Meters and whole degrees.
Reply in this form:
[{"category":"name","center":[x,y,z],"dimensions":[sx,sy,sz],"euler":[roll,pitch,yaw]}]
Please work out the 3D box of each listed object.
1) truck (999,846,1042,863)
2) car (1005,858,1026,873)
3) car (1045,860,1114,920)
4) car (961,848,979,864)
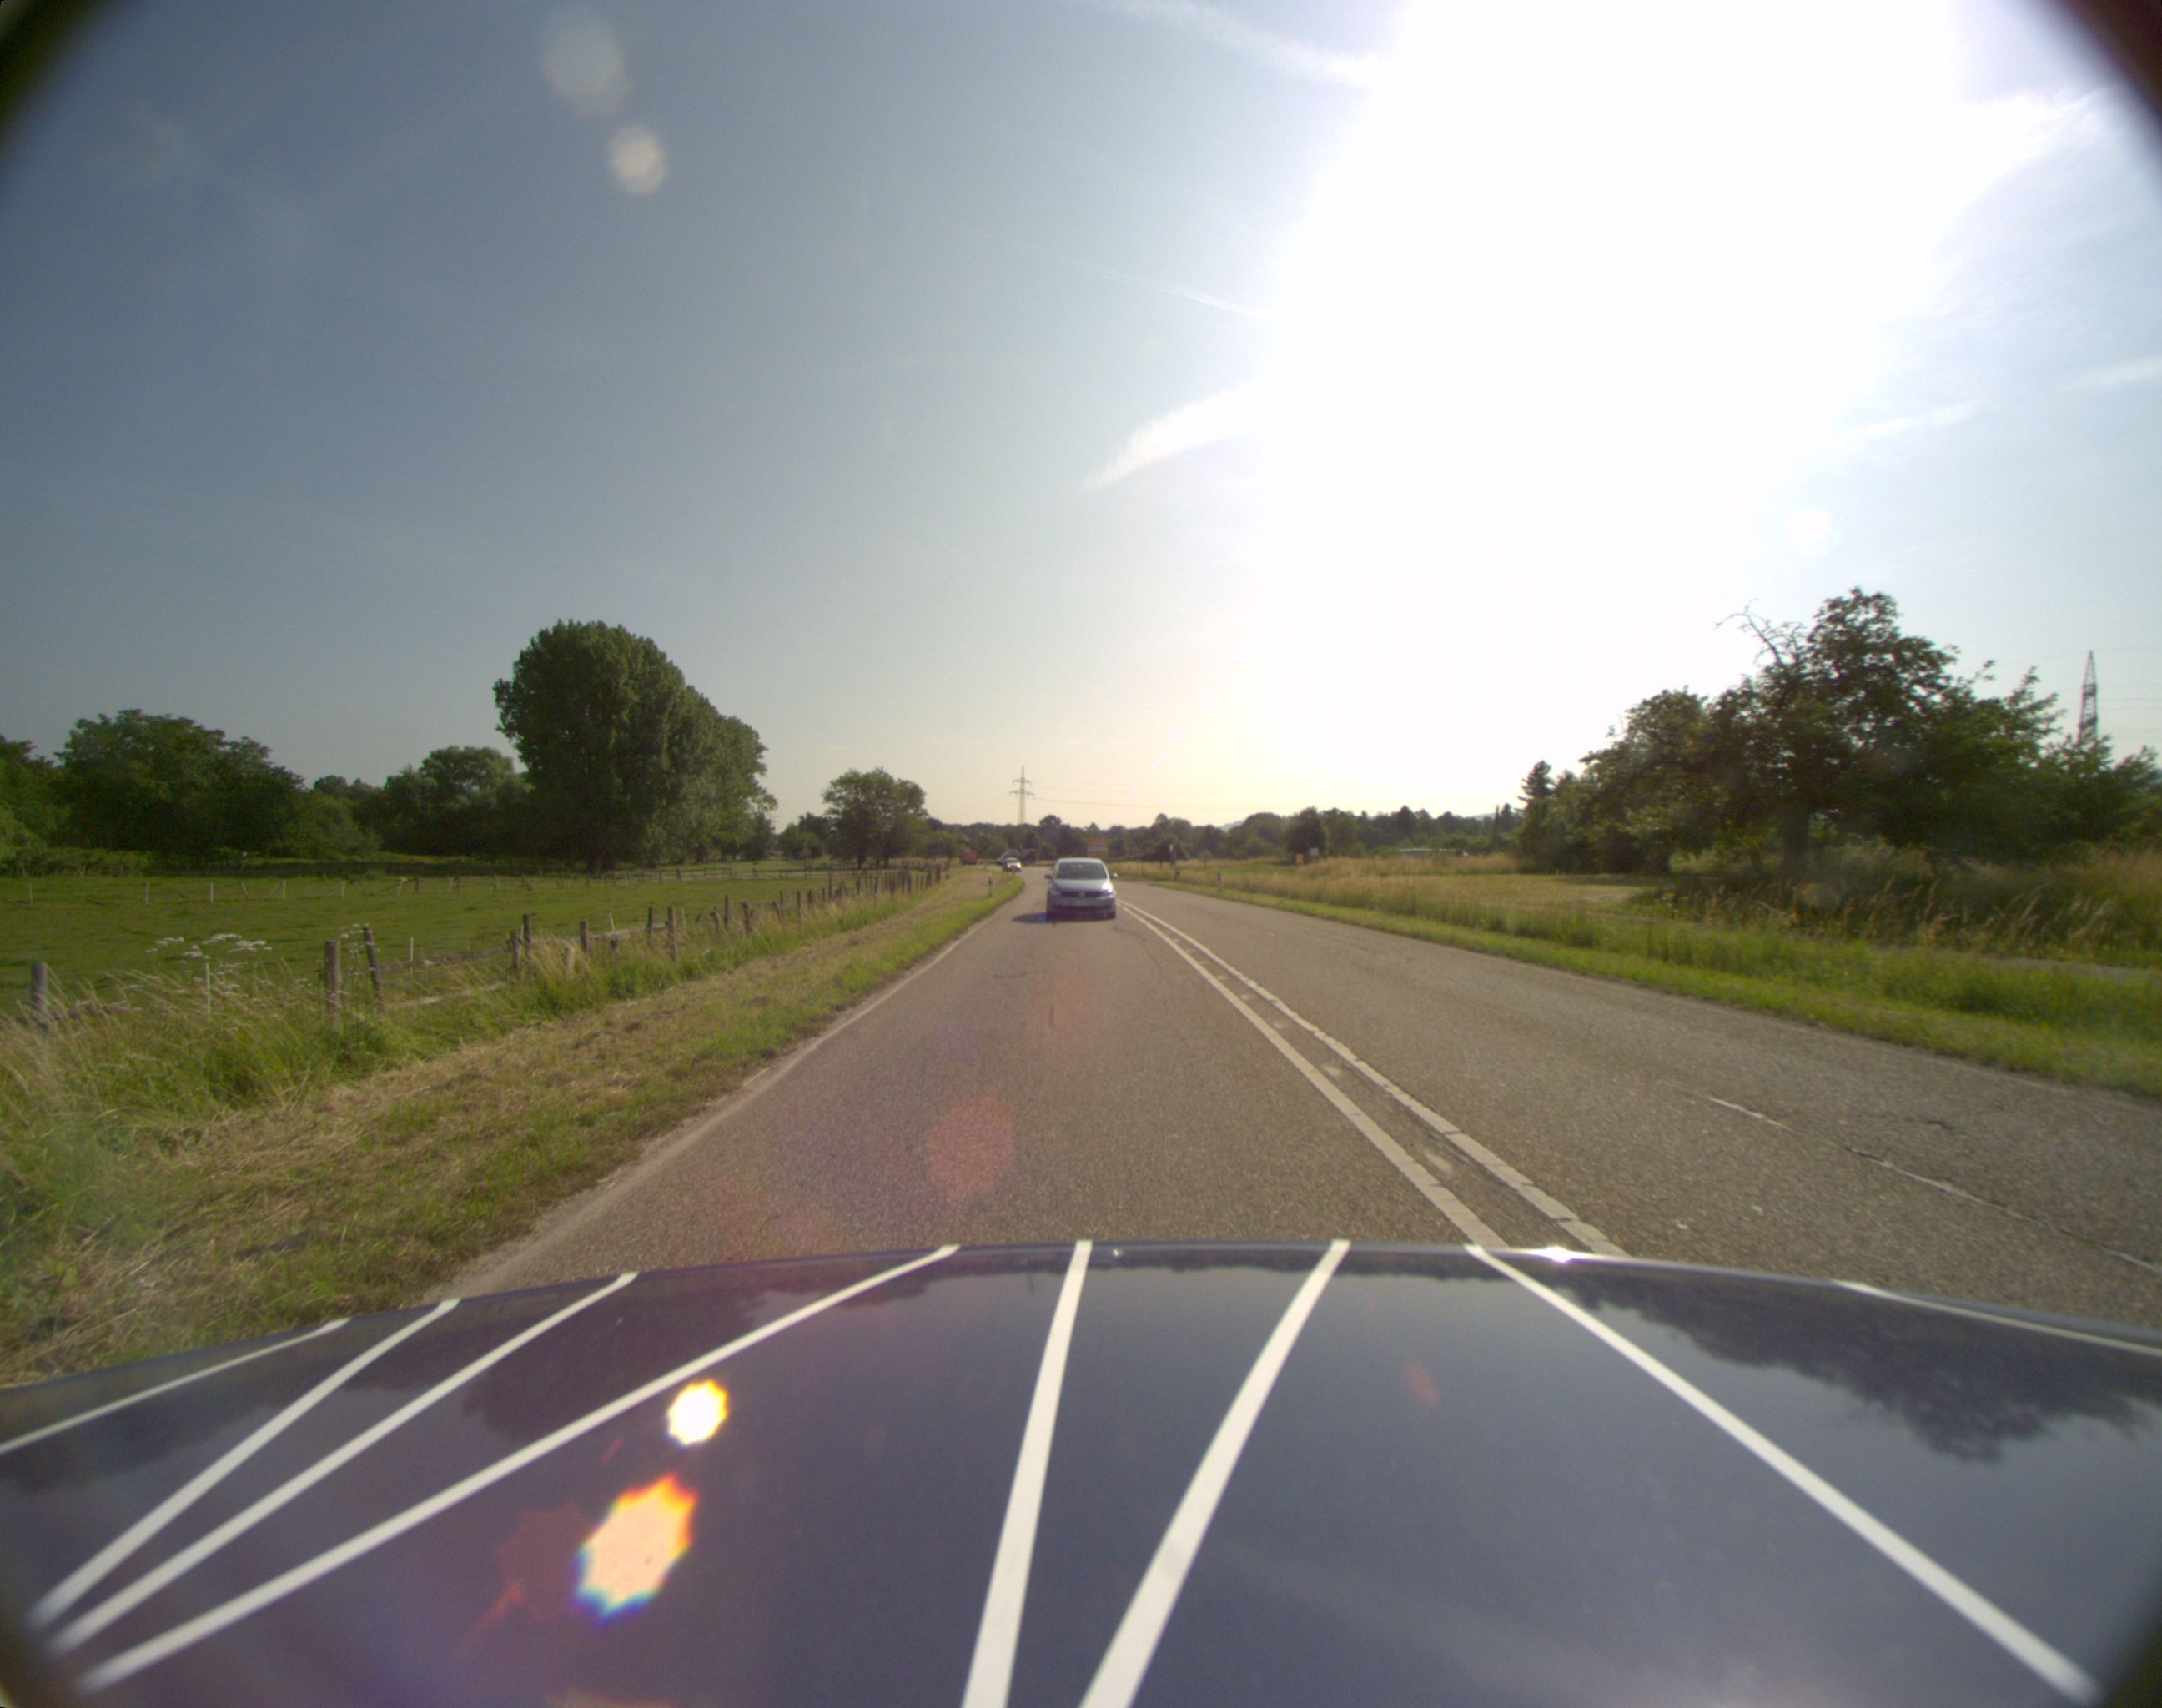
[{"category":"truck","center":[-10.899,0.099,136.885],"dimensions":[7.366,3.027,2.581],"euler":[0,0,-11]},{"category":"car","center":[-7.768,1.348,89.766],"dimensions":[2.000,1.570,3.906],"euler":[-2,0,-10]},{"category":"car","center":[-0.137,0.959,21.913],"dimensions":[1.718,1.495,4.092],"euler":[0,0,-4]},{"category":"car","center":[-19.634,0.387,134.590],"dimensions":[2.133,2.680,5.259],"euler":[0,0,-20]}]
